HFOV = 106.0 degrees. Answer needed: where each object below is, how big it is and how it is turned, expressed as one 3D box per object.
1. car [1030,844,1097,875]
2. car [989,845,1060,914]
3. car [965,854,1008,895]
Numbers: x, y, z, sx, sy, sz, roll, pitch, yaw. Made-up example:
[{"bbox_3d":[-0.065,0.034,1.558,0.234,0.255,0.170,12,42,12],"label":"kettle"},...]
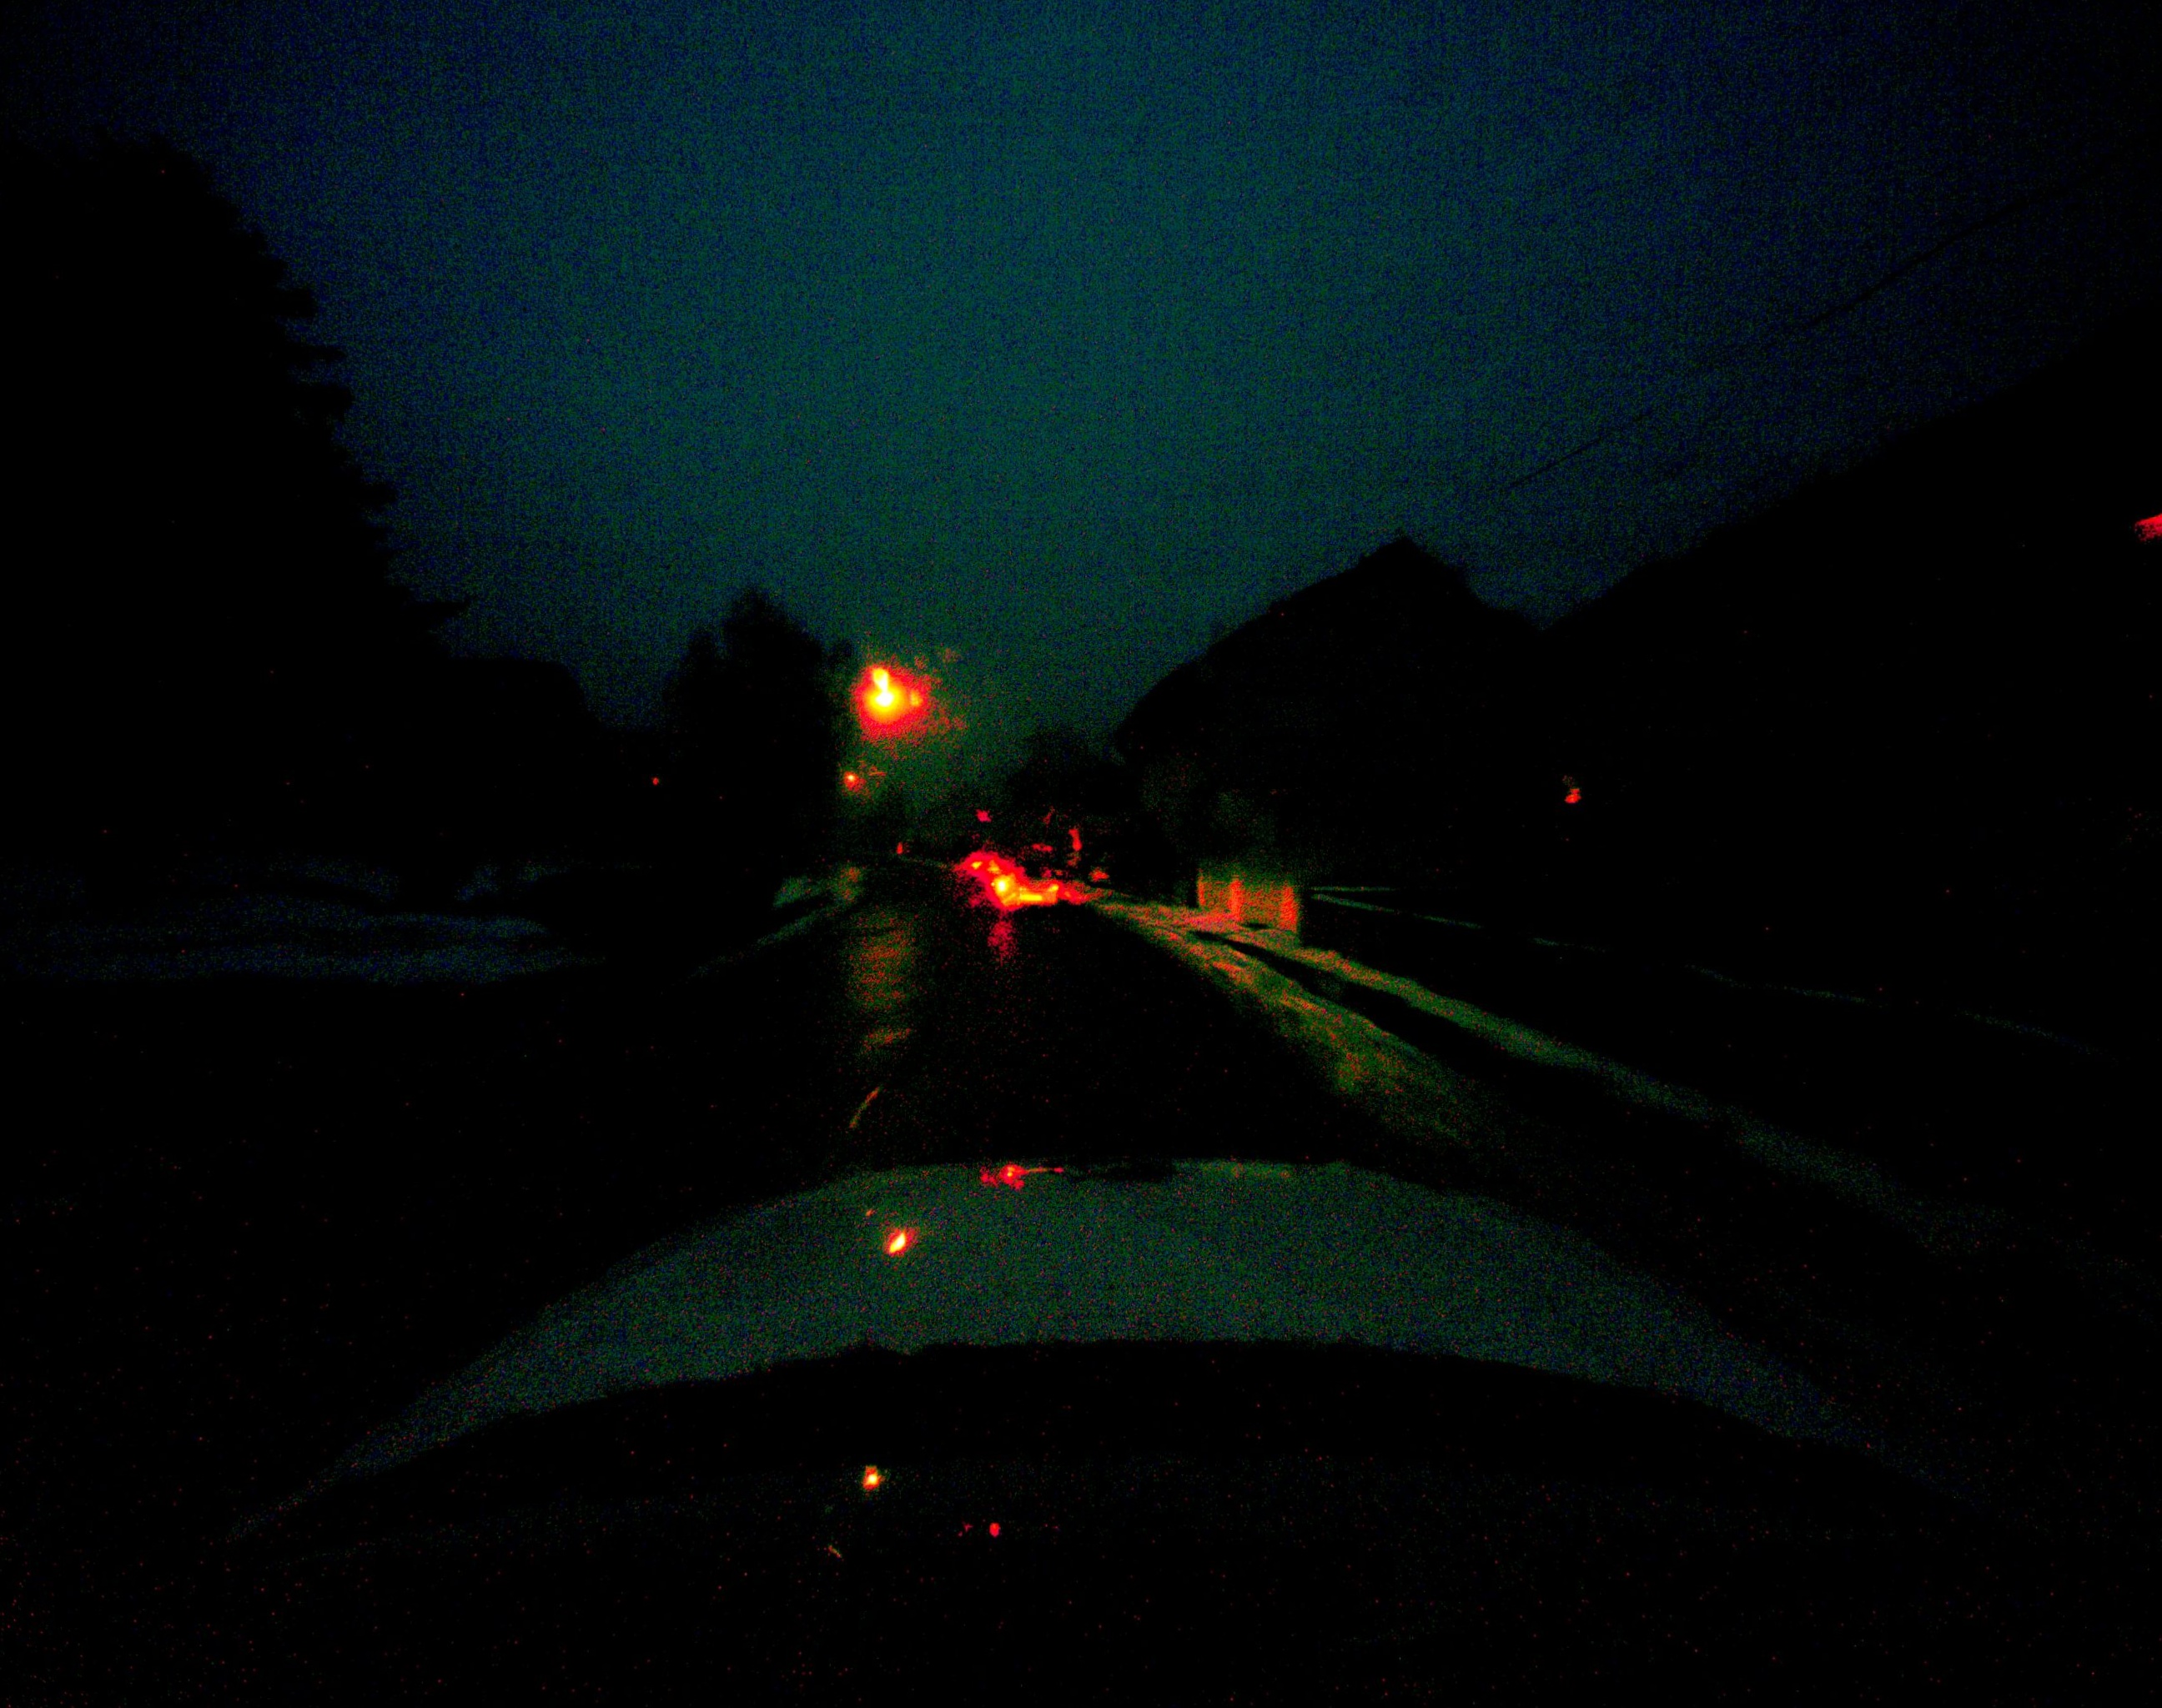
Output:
[{"bbox_3d":[-1.069,0.345,49.479,3.979,1.816,1.997,0,-2,-4],"label":"car"},{"bbox_3d":[-1.520,0.659,21.309,1.643,1.596,3.691,2,-2,-6],"label":"car"},{"bbox_3d":[-4.056,0.875,34.868,1.644,1.596,3.689,2,-2,-7],"label":"car"}]
